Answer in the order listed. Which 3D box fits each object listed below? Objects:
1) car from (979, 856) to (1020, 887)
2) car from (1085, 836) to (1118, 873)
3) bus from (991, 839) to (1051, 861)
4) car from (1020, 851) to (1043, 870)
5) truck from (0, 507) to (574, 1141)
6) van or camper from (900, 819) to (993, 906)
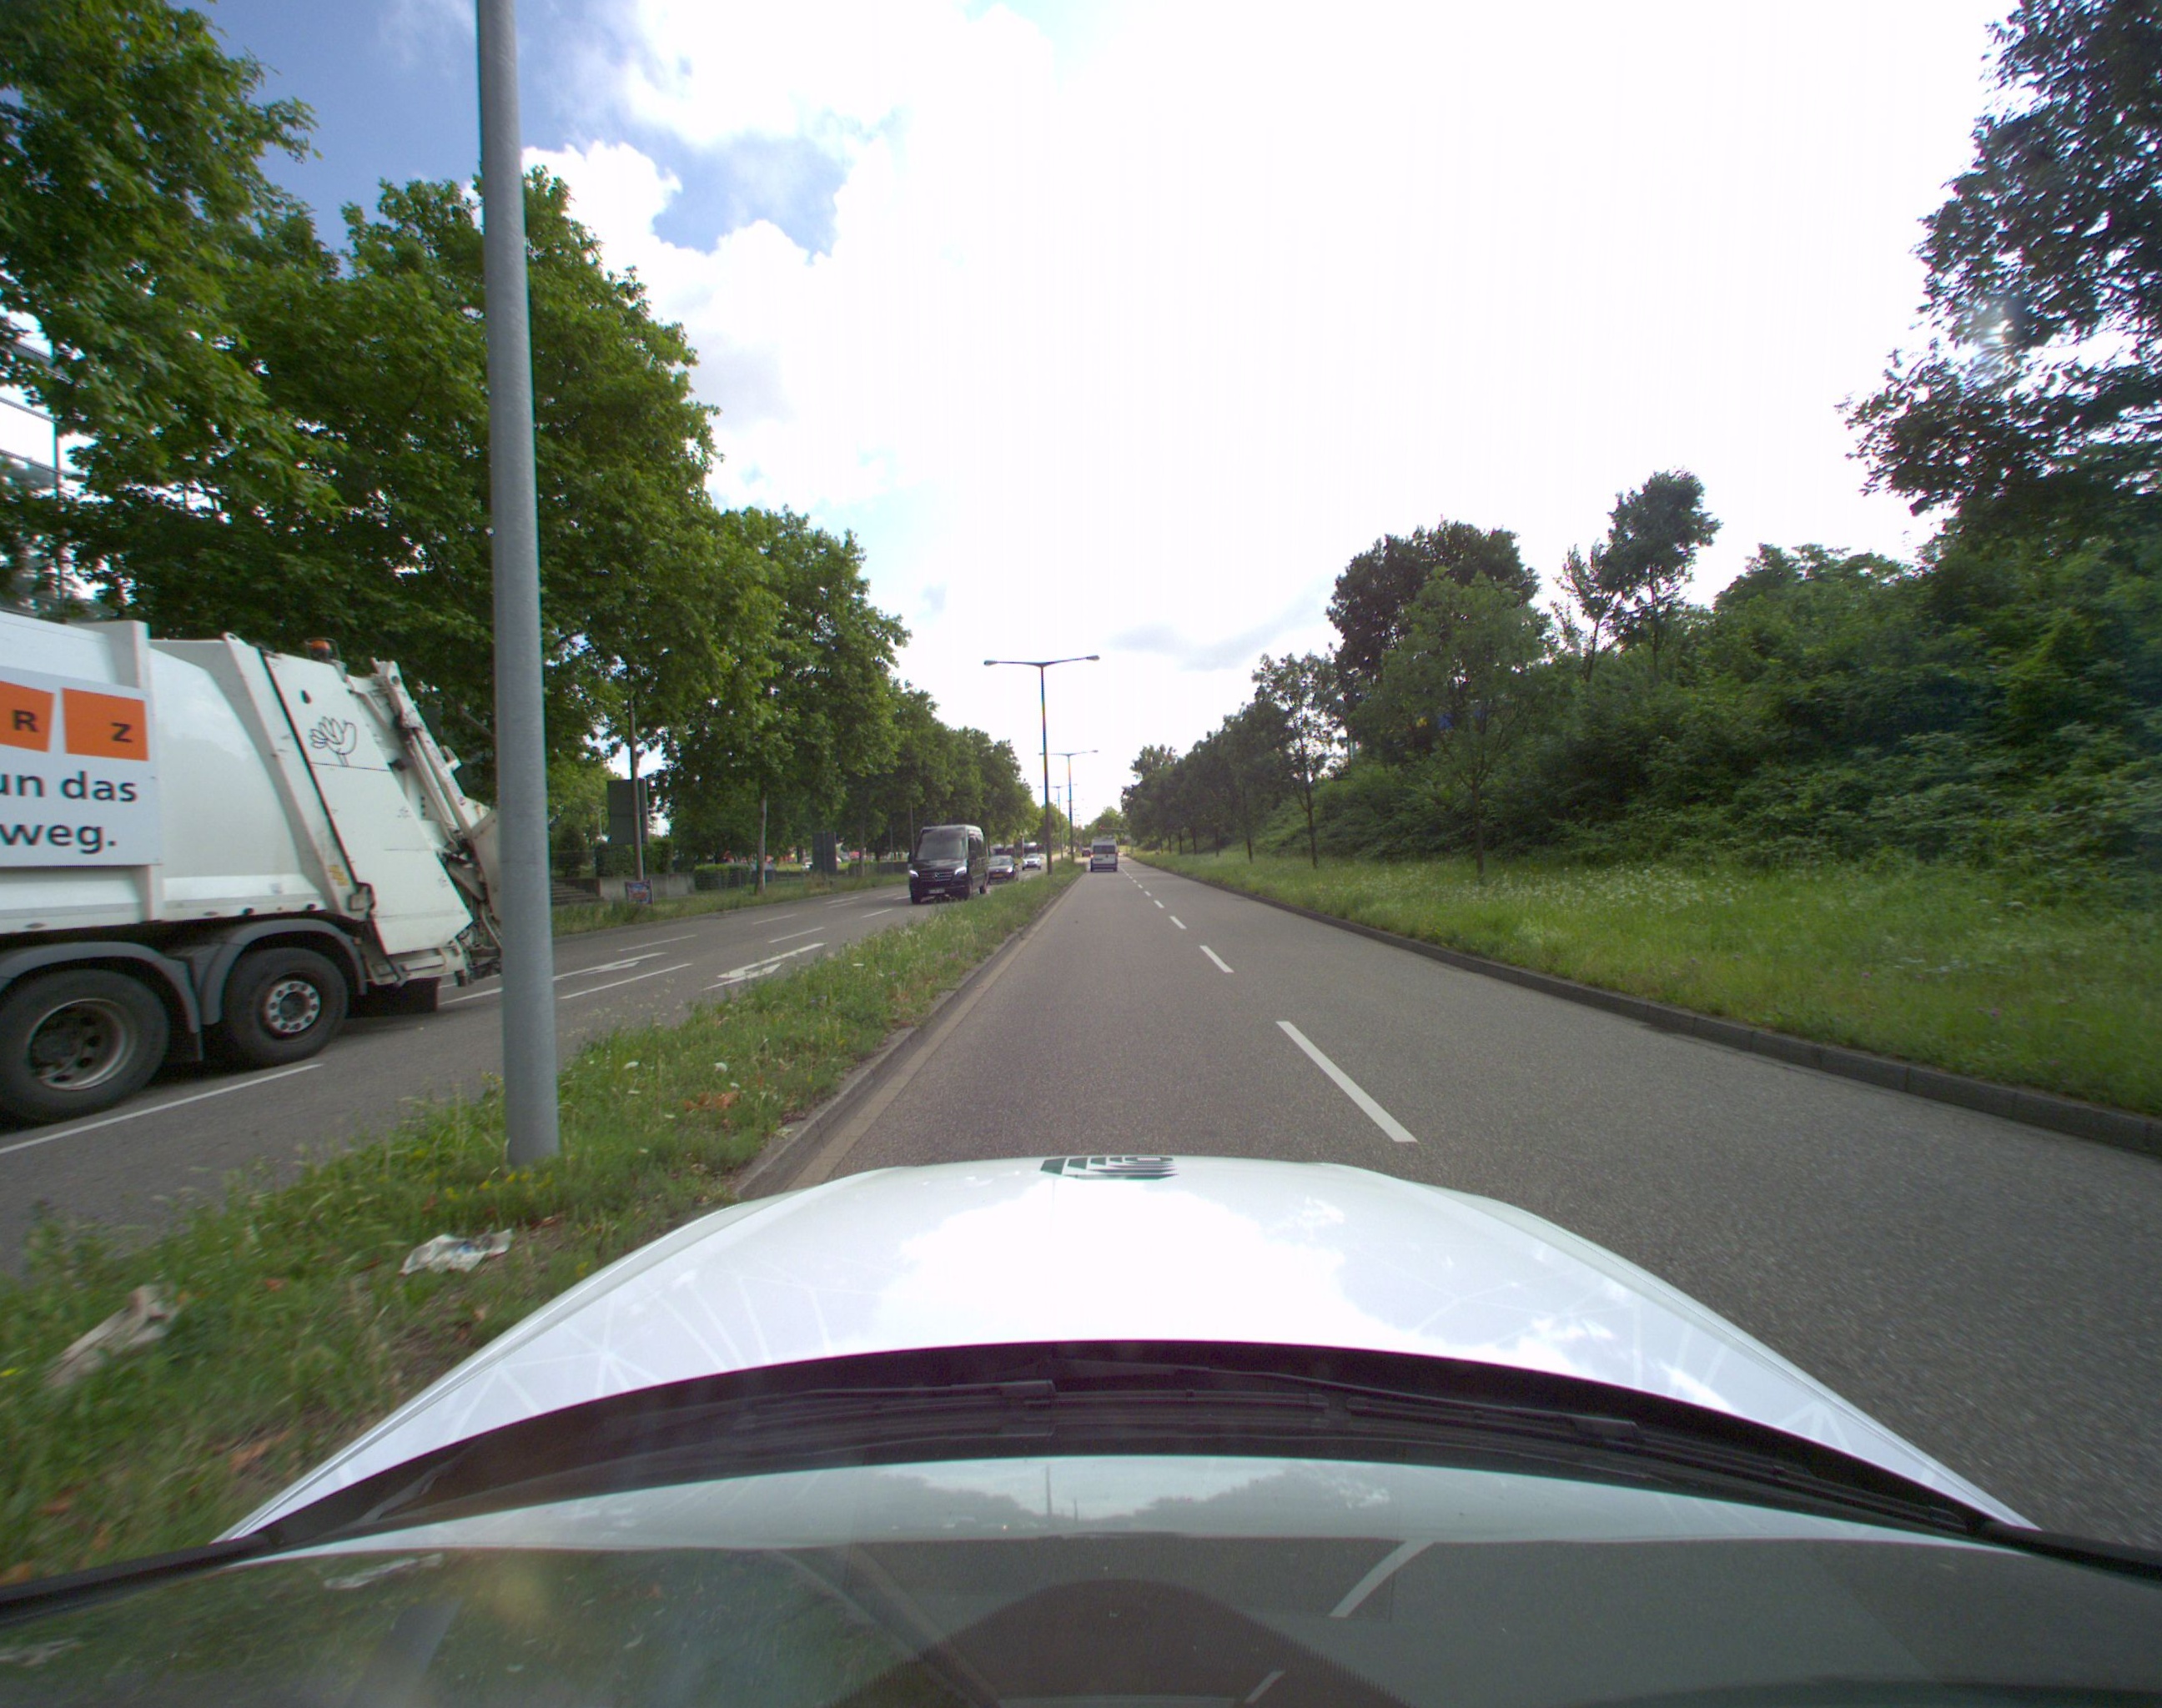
[{"bbox_3d":[-4.255,0.907,42.950,1.689,1.464,3.940,-3,-1,0],"label":"car"},{"bbox_3d":[1.538,0.033,62.999,2.192,2.726,4.928,-1,1,-2],"label":"car"},{"bbox_3d":[-11.409,-0.685,153.817,12.177,3.274,3.139,-4,-1,39],"label":"bus"},{"bbox_3d":[-4.774,0.587,79.057,1.808,1.640,4.350,-4,0,-1],"label":"car"},{"bbox_3d":[-7.927,-0.145,5.020,2.639,3.887,10.167,-3,0,3],"label":"truck"},{"bbox_3d":[-4.631,0.291,29.202,2.098,2.660,6.715,-3,0,-1],"label":"van or camper"}]
